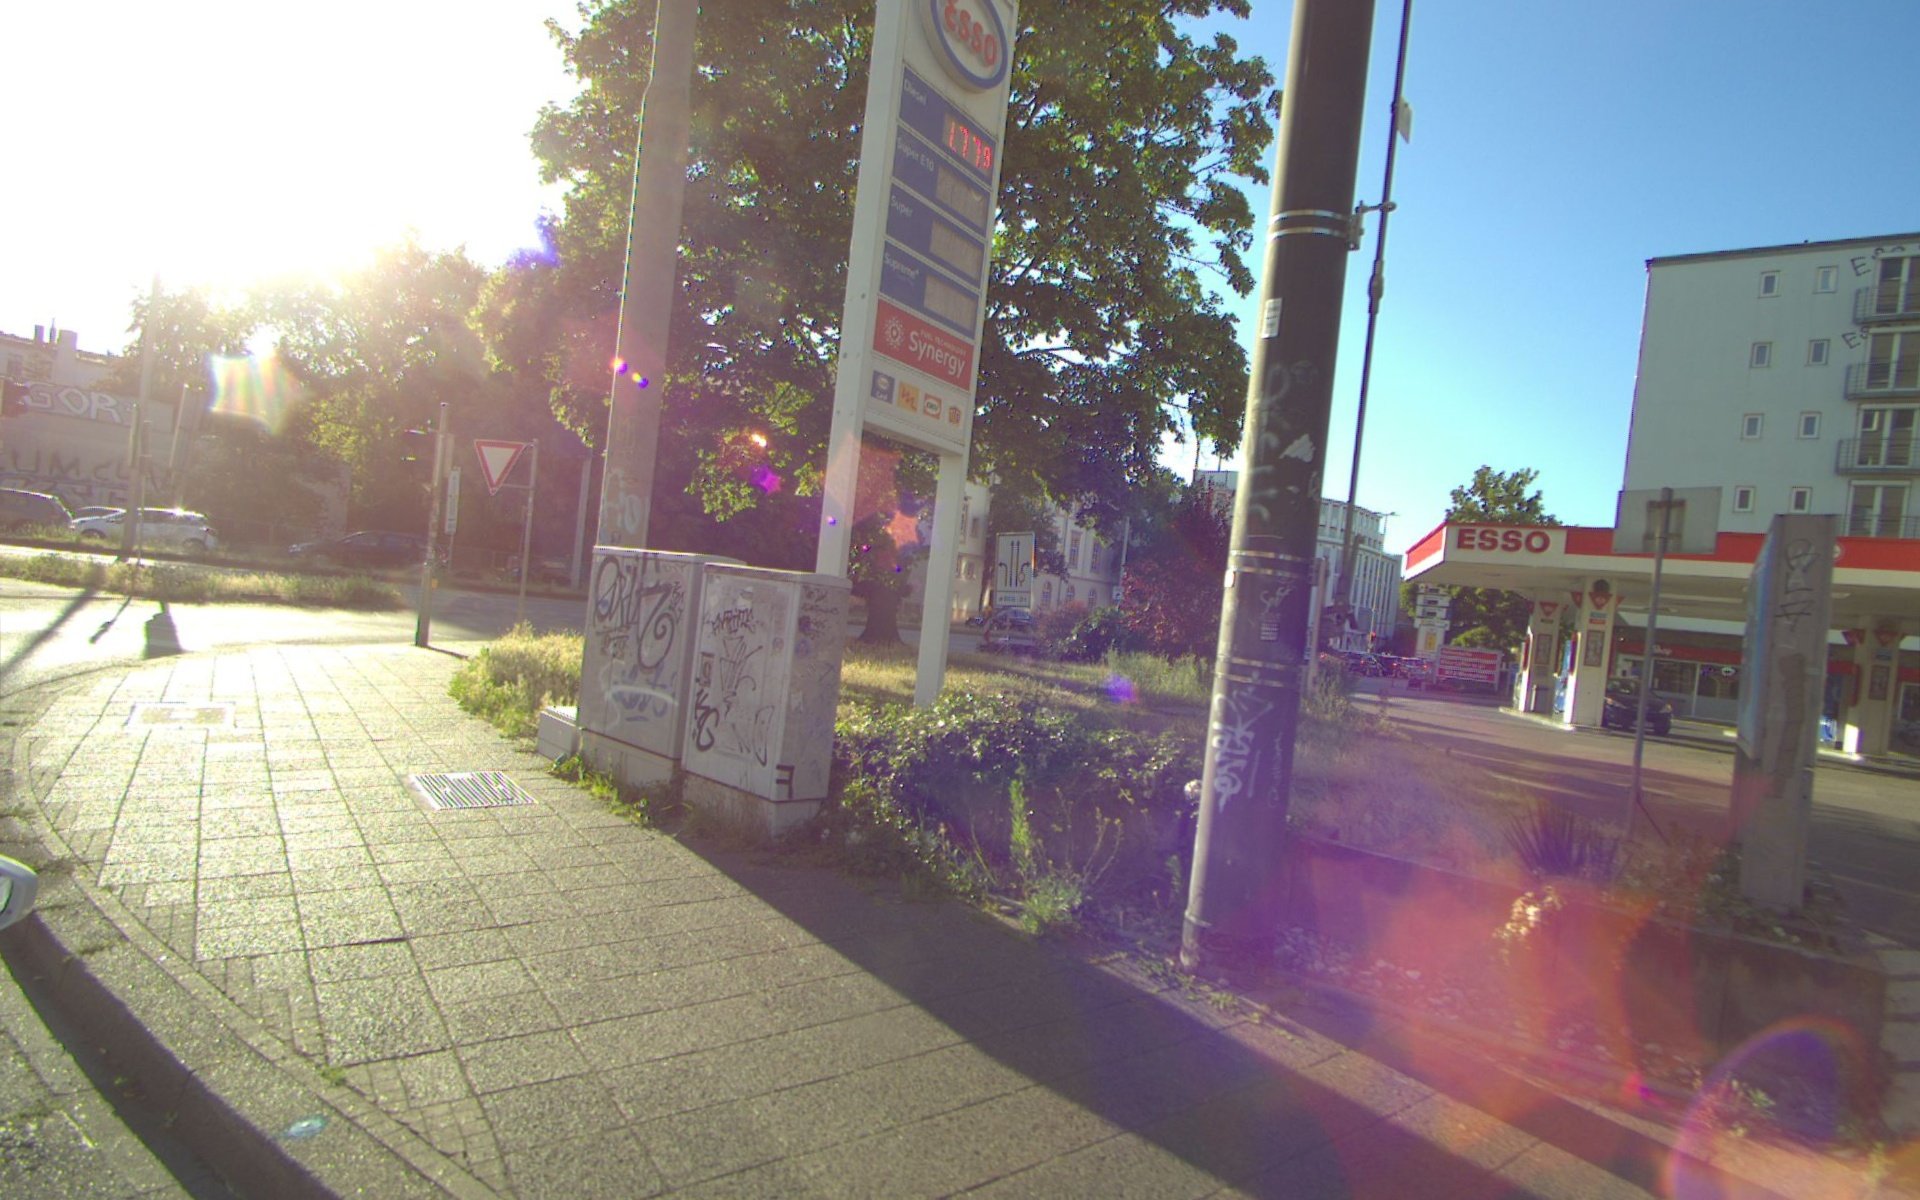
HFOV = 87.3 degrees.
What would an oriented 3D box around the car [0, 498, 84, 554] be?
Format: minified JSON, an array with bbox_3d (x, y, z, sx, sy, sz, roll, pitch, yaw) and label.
[{"bbox_3d":[-26.856,-2.174,27.403,4.205,1.312,1.710,7,-1,-33],"label":"car"}]

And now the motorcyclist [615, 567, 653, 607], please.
[{"bbox_3d":[-12.398,-0.493,38.236,1.051,1.415,0.847,6,0,-34],"label":"motorcyclist"}]

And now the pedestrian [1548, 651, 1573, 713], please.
[{"bbox_3d":[17.359,2.367,29.089,0.413,1.726,0.420,6,0,21],"label":"pedestrian"}]

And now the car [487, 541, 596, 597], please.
[{"bbox_3d":[-17.932,-1.297,43.161,3.959,1.814,1.737,8,-3,-31],"label":"car"}]

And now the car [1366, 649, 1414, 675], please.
[{"bbox_3d":[30.015,4.354,70.143,1.907,1.504,3.981,6,-1,41],"label":"car"}]

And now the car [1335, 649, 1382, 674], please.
[{"bbox_3d":[28.946,4.499,73.029,1.907,1.504,3.981,6,-1,41],"label":"car"}]

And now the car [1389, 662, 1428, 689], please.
[{"bbox_3d":[37.036,6.234,83.005,1.828,1.871,3.985,4,-4,41],"label":"car"}]

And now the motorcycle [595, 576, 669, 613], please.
[{"bbox_3d":[-12.463,-0.213,38.230,2.446,1.121,0.854,6,0,-35],"label":"motorcycle"}]

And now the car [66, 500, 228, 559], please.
[{"bbox_3d":[-25.951,-2.224,32.295,3.859,1.335,1.708,7,-1,-36],"label":"car"}]

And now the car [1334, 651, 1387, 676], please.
[{"bbox_3d":[26.335,4.196,66.096,1.972,1.372,3.978,6,1,41],"label":"car"}]

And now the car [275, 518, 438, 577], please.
[{"bbox_3d":[-19.333,-1.655,32.336,4.334,1.312,1.709,7,-1,-34],"label":"car"}]

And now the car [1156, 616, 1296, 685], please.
[{"bbox_3d":[7.694,1.476,28.964,3.965,1.593,1.687,7,-1,-37],"label":"car"}]

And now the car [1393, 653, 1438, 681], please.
[{"bbox_3d":[33.991,4.987,74.981,1.806,1.749,3.980,6,0,41],"label":"car"}]

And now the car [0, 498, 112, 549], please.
[{"bbox_3d":[-31.215,-2.627,33.869,3.859,1.312,1.708,7,-1,-36],"label":"car"}]

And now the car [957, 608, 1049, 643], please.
[{"bbox_3d":[2.514,1.484,57.688,5.252,1.514,1.978,7,-1,-40],"label":"car"}]

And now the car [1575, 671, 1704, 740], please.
[{"bbox_3d":[18.680,2.844,27.863,1.963,1.371,3.996,6,1,21],"label":"car"}]

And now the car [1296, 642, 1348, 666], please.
[{"bbox_3d":[24.843,3.726,68.887,1.972,1.372,3.978,6,1,41],"label":"car"}]
